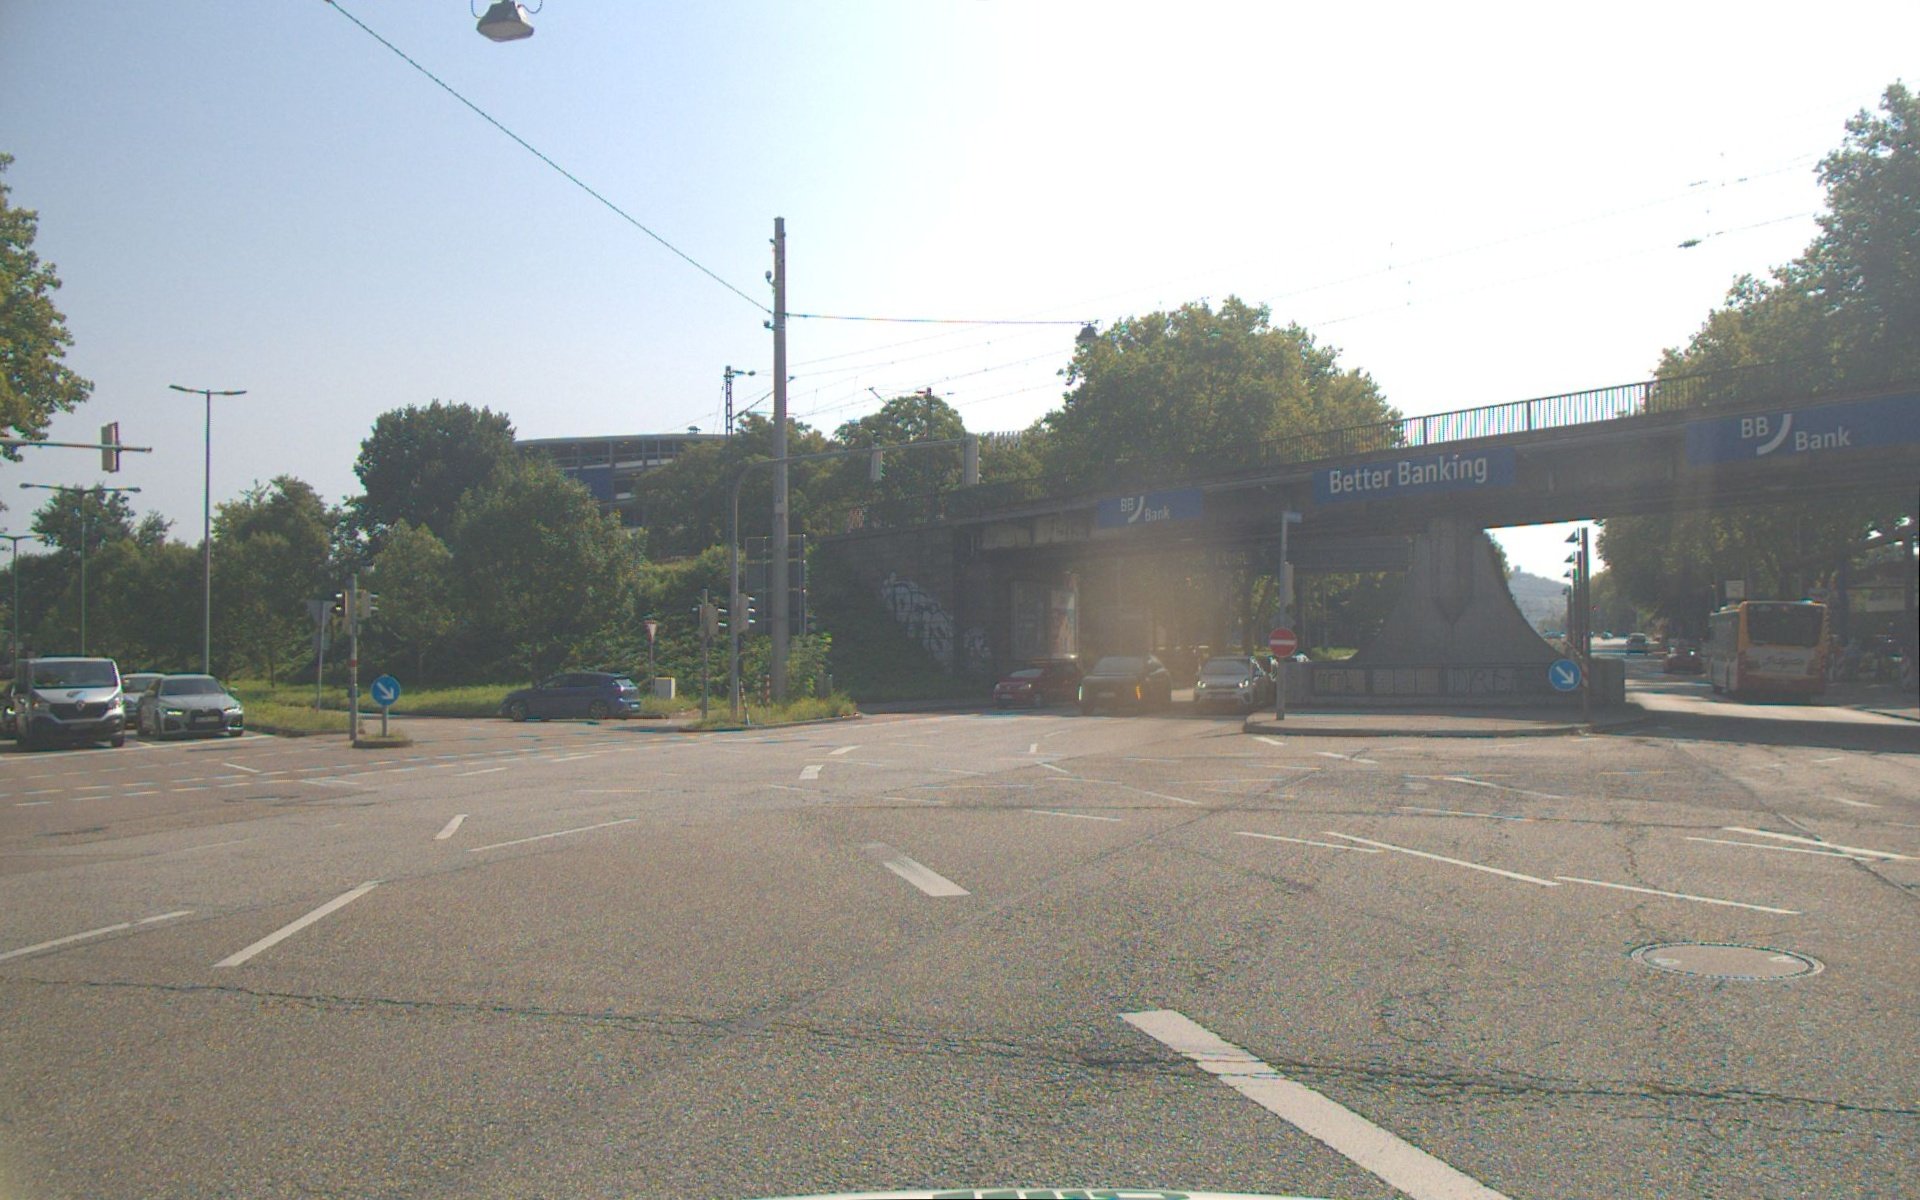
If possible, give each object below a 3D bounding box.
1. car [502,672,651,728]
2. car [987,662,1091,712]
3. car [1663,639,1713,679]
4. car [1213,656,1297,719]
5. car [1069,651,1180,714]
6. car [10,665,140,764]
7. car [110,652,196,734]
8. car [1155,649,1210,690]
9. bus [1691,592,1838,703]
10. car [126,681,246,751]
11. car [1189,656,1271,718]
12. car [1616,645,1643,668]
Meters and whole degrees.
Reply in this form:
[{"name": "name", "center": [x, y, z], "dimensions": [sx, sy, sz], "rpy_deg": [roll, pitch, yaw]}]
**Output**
[{"name": "car", "center": [-11.439, 2.967, 49.463], "dimensions": [3.902, 1.453, 1.787], "rpy_deg": [2, -1, 13]}, {"name": "car", "center": [2.589, 2.824, 53.888], "dimensions": [1.612, 1.493, 3.537], "rpy_deg": [2, -1, 38]}, {"name": "car", "center": [39.101, 3.141, 88.924], "dimensions": [1.952, 2.049, 4.002], "rpy_deg": [1, -1, 17]}, {"name": "car", "center": [8.699, 2.523, 48.557], "dimensions": [1.951, 1.600, 4.350], "rpy_deg": [-1, 0, 16]}, {"name": "car", "center": [4.668, 2.290, 46.324], "dimensions": [1.863, 1.645, 4.473], "rpy_deg": [-3, -3, 22]}, {"name": "car", "center": [-19.805, 2.477, 36.902], "dimensions": [1.912, 1.992, 5.146], "rpy_deg": [1, -2, -35]}, {"name": "car", "center": [-22.438, 2.528, 45.925], "dimensions": [1.600, 1.560, 4.056], "rpy_deg": [-2, 7, -34]}, {"name": "car", "center": [10.917, 3.392, 80.965], "dimensions": [1.952, 1.881, 4.001], "rpy_deg": [1, -1, 18]}, {"name": "bus", "center": [27.072, 1.615, 56.214], "dimensions": [3.070, 3.167, 12.291], "rpy_deg": [3, -1, 20]}, {"name": "car", "center": [-18.509, 2.728, 39.451], "dimensions": [1.821, 1.468, 4.548], "rpy_deg": [-2, -2, -35]}, {"name": "car", "center": [7.239, 2.291, 44.112], "dimensions": [1.685, 1.565, 3.697], "rpy_deg": [-2, -2, 16]}, {"name": "car", "center": [62.543, 5.277, 154.453], "dimensions": [1.952, 2.049, 4.002], "rpy_deg": [1, -1, 17]}]
